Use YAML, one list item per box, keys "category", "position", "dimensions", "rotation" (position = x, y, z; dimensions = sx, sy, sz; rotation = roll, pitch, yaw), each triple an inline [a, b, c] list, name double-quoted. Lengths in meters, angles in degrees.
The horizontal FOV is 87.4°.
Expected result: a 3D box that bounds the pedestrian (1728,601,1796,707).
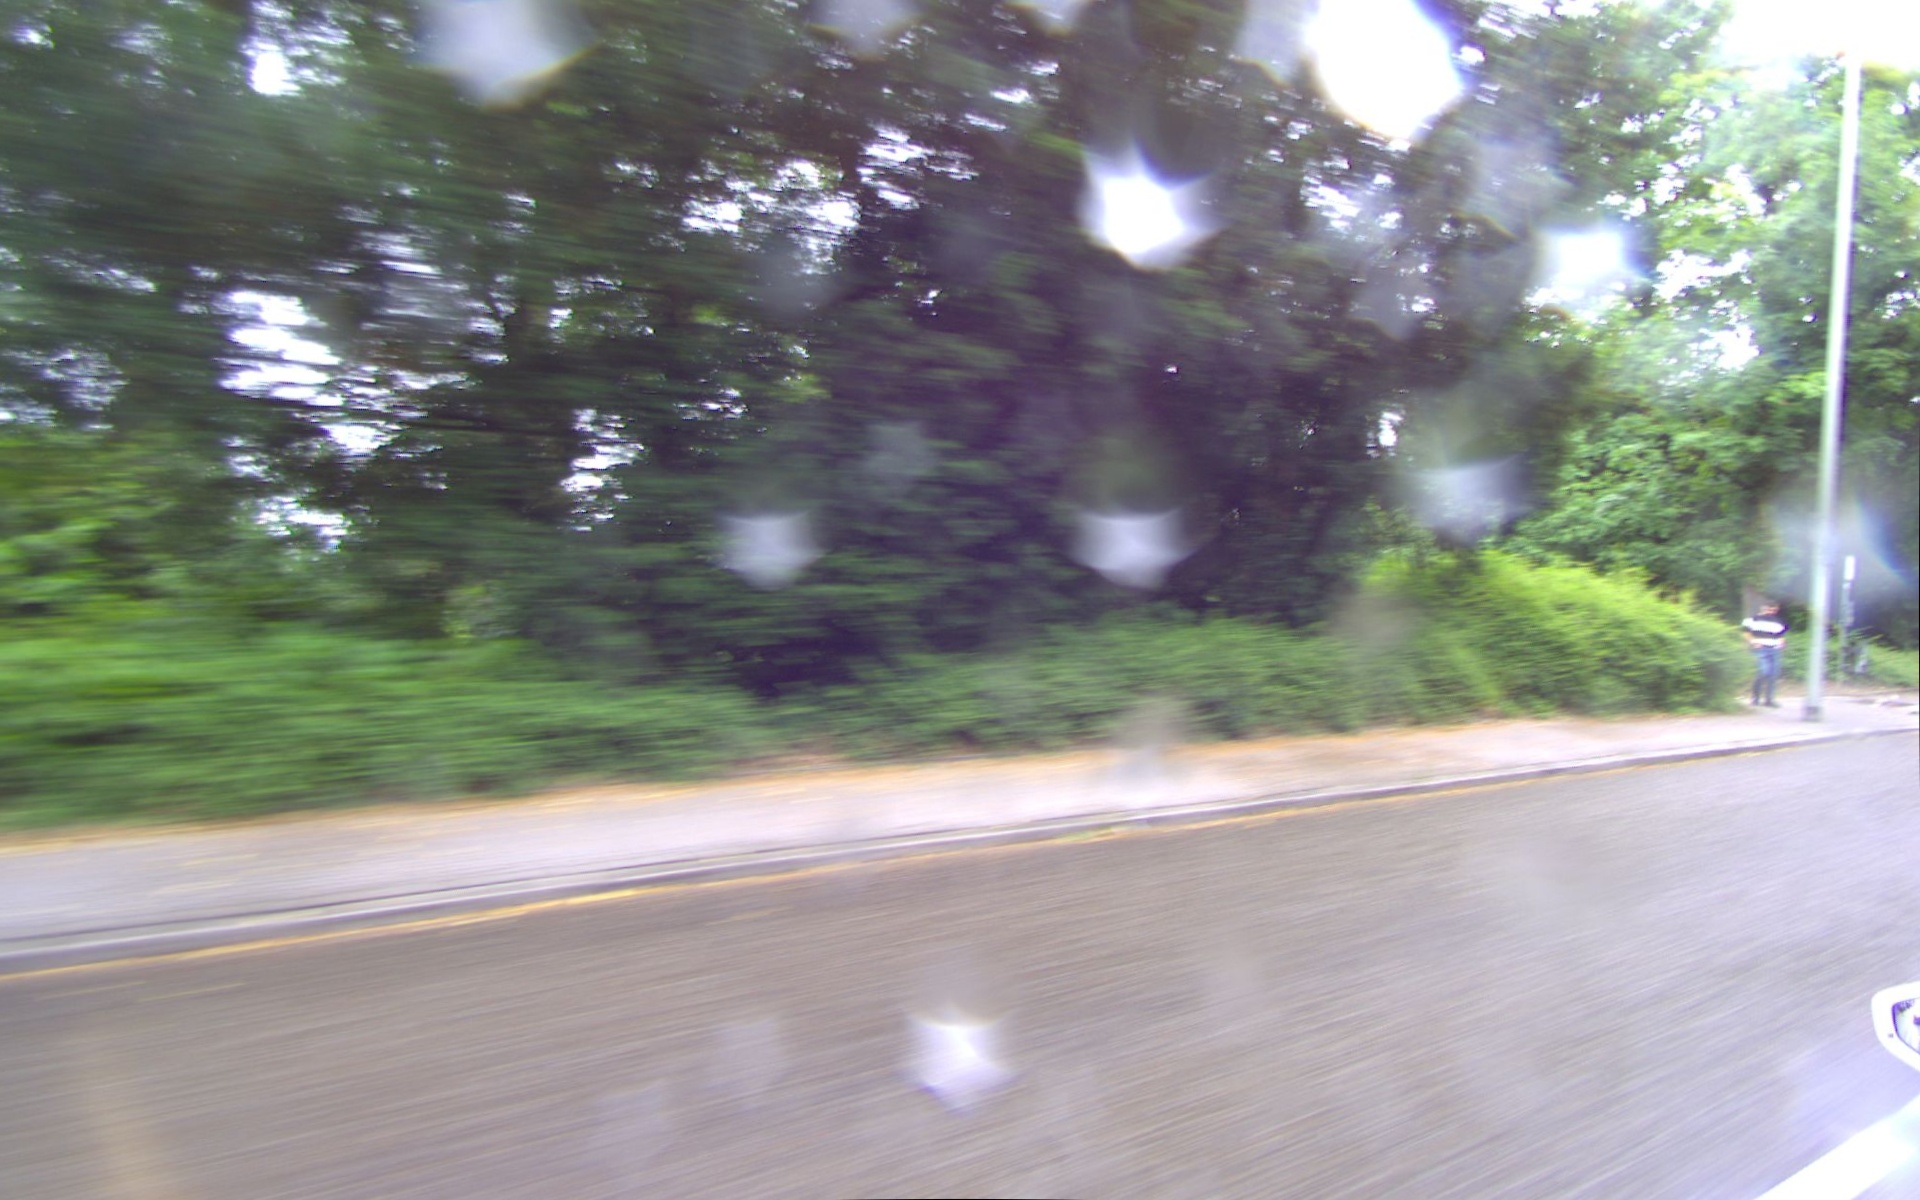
- category: "pedestrian"
  position: [13.062, 0.860, 16.381]
  dimensions: [0.694, 1.666, 0.713]
  rotation: [1, 0, 24]
